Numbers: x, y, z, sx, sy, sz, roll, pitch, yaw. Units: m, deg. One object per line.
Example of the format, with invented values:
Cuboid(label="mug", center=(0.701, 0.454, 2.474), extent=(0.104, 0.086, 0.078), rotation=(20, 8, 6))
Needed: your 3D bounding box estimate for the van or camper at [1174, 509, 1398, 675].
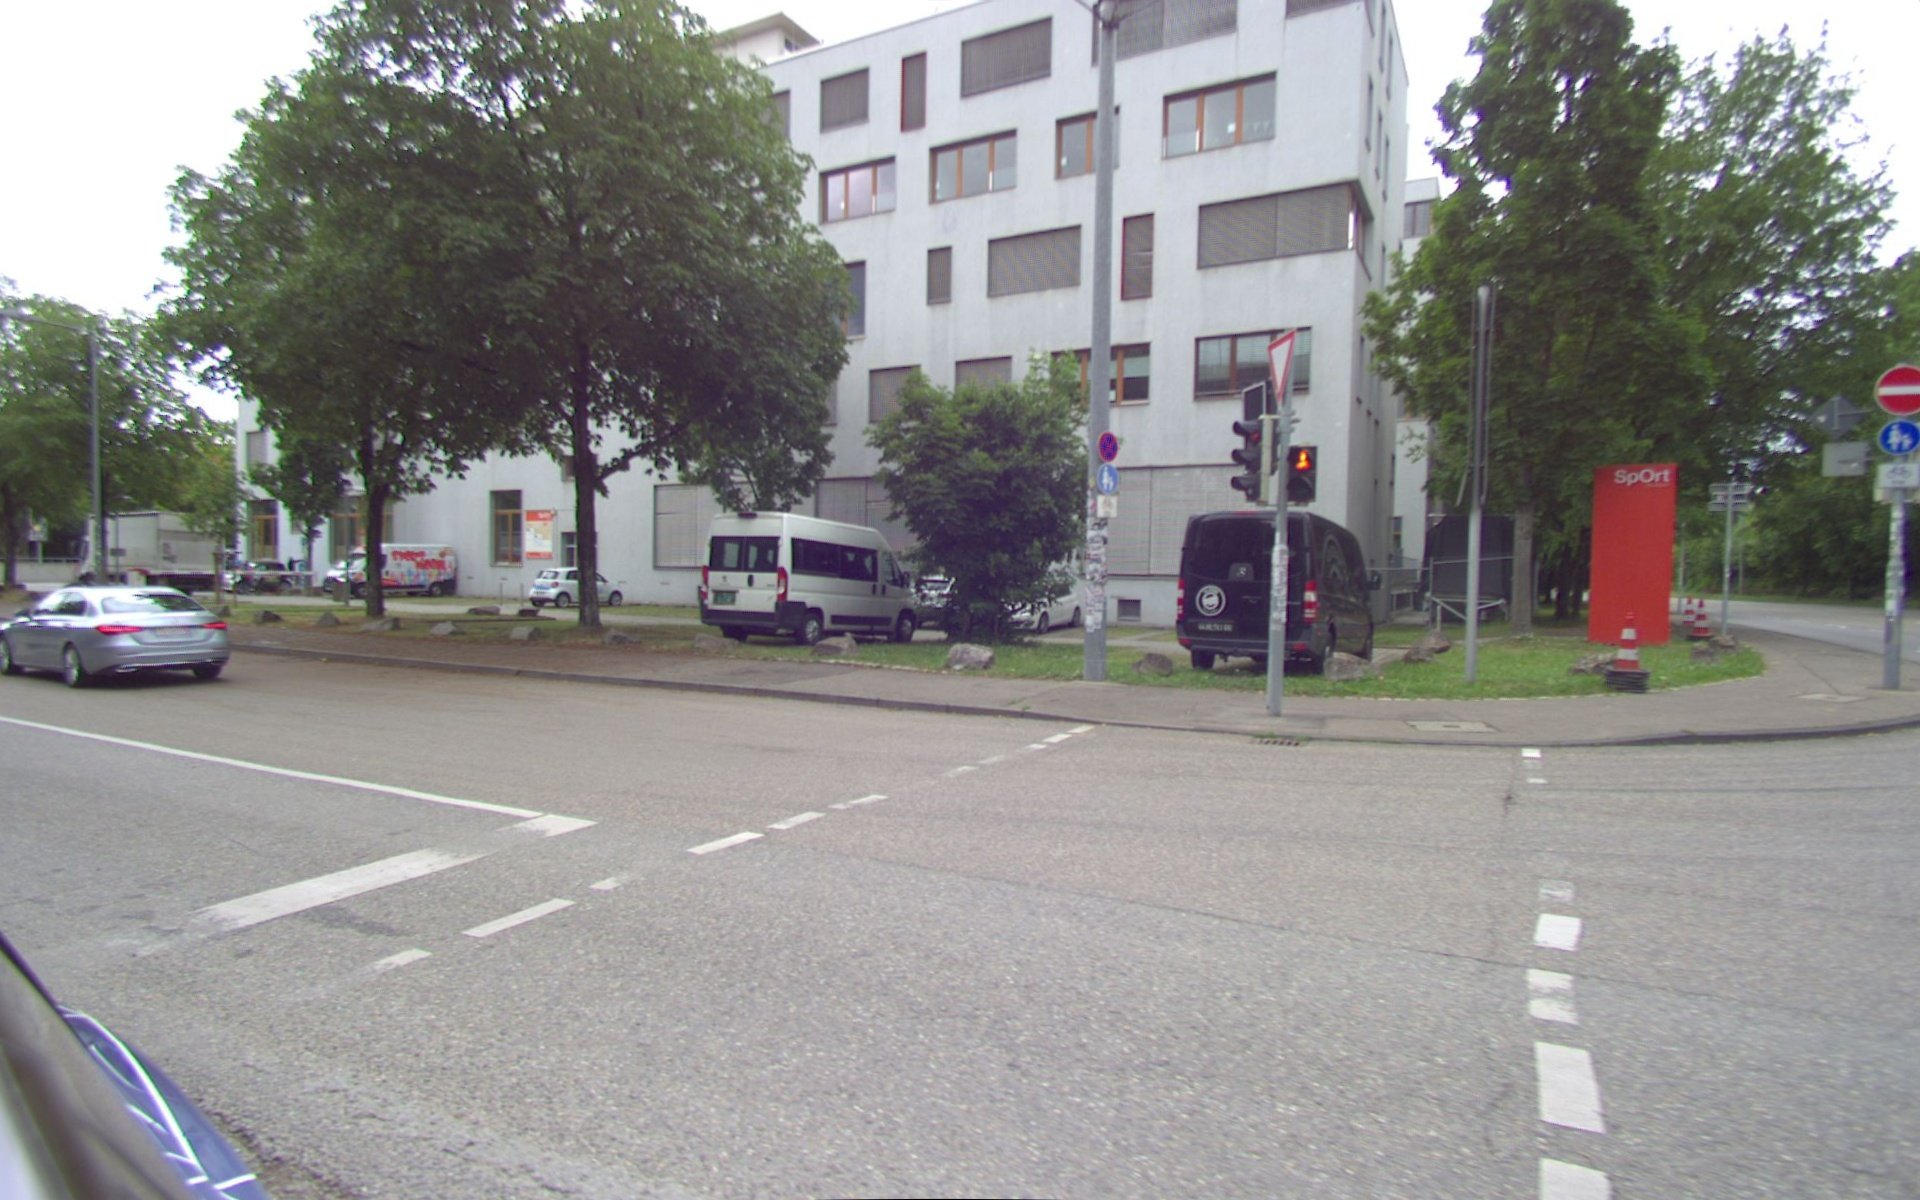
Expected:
Cuboid(label="van or camper", center=(5.335, -0.020, 15.917), extent=(2.162, 2.126, 5.584), rotation=(1, -2, 31))

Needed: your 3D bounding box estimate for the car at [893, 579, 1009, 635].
Cuboid(label="car", center=(-0.203, 0.158, 31.032), extent=(1.836, 1.540, 4.043), rotation=(1, 2, 29))

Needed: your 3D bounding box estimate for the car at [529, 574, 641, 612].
Cuboid(label="car", center=(-14.805, -0.307, 40.148), extent=(1.708, 1.429, 3.970), rotation=(1, 1, 31))

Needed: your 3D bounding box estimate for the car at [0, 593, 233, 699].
Cuboid(label="car", center=(-13.136, 0.608, 15.567), extent=(4.356, 1.408, 1.684), rotation=(1, 1, 32))

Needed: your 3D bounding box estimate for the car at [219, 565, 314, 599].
Cuboid(label="car", center=(-35.249, -0.898, 51.493), extent=(1.651, 1.659, 3.660), rotation=(1, 1, 33))

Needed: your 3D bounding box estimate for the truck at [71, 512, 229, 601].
Cuboid(label="truck", center=(-36.014, -1.859, 44.931), extent=(7.804, 3.644, 2.624), rotation=(1, -1, 29))

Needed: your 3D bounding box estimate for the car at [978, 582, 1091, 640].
Cuboid(label="car", center=(2.289, 0.263, 30.116), extent=(1.850, 1.470, 4.036), rotation=(0, 3, 29))

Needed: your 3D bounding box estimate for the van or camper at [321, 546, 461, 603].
Cuboid(label="van or camper", center=(-25.914, -1.170, 46.326), extent=(2.248, 2.444, 5.218), rotation=(1, 1, 29))

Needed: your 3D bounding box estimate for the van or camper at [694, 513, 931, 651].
Cuboid(label="van or camper", center=(-2.812, -0.306, 20.714), extent=(2.148, 2.441, 5.136), rotation=(1, 0, 28))
